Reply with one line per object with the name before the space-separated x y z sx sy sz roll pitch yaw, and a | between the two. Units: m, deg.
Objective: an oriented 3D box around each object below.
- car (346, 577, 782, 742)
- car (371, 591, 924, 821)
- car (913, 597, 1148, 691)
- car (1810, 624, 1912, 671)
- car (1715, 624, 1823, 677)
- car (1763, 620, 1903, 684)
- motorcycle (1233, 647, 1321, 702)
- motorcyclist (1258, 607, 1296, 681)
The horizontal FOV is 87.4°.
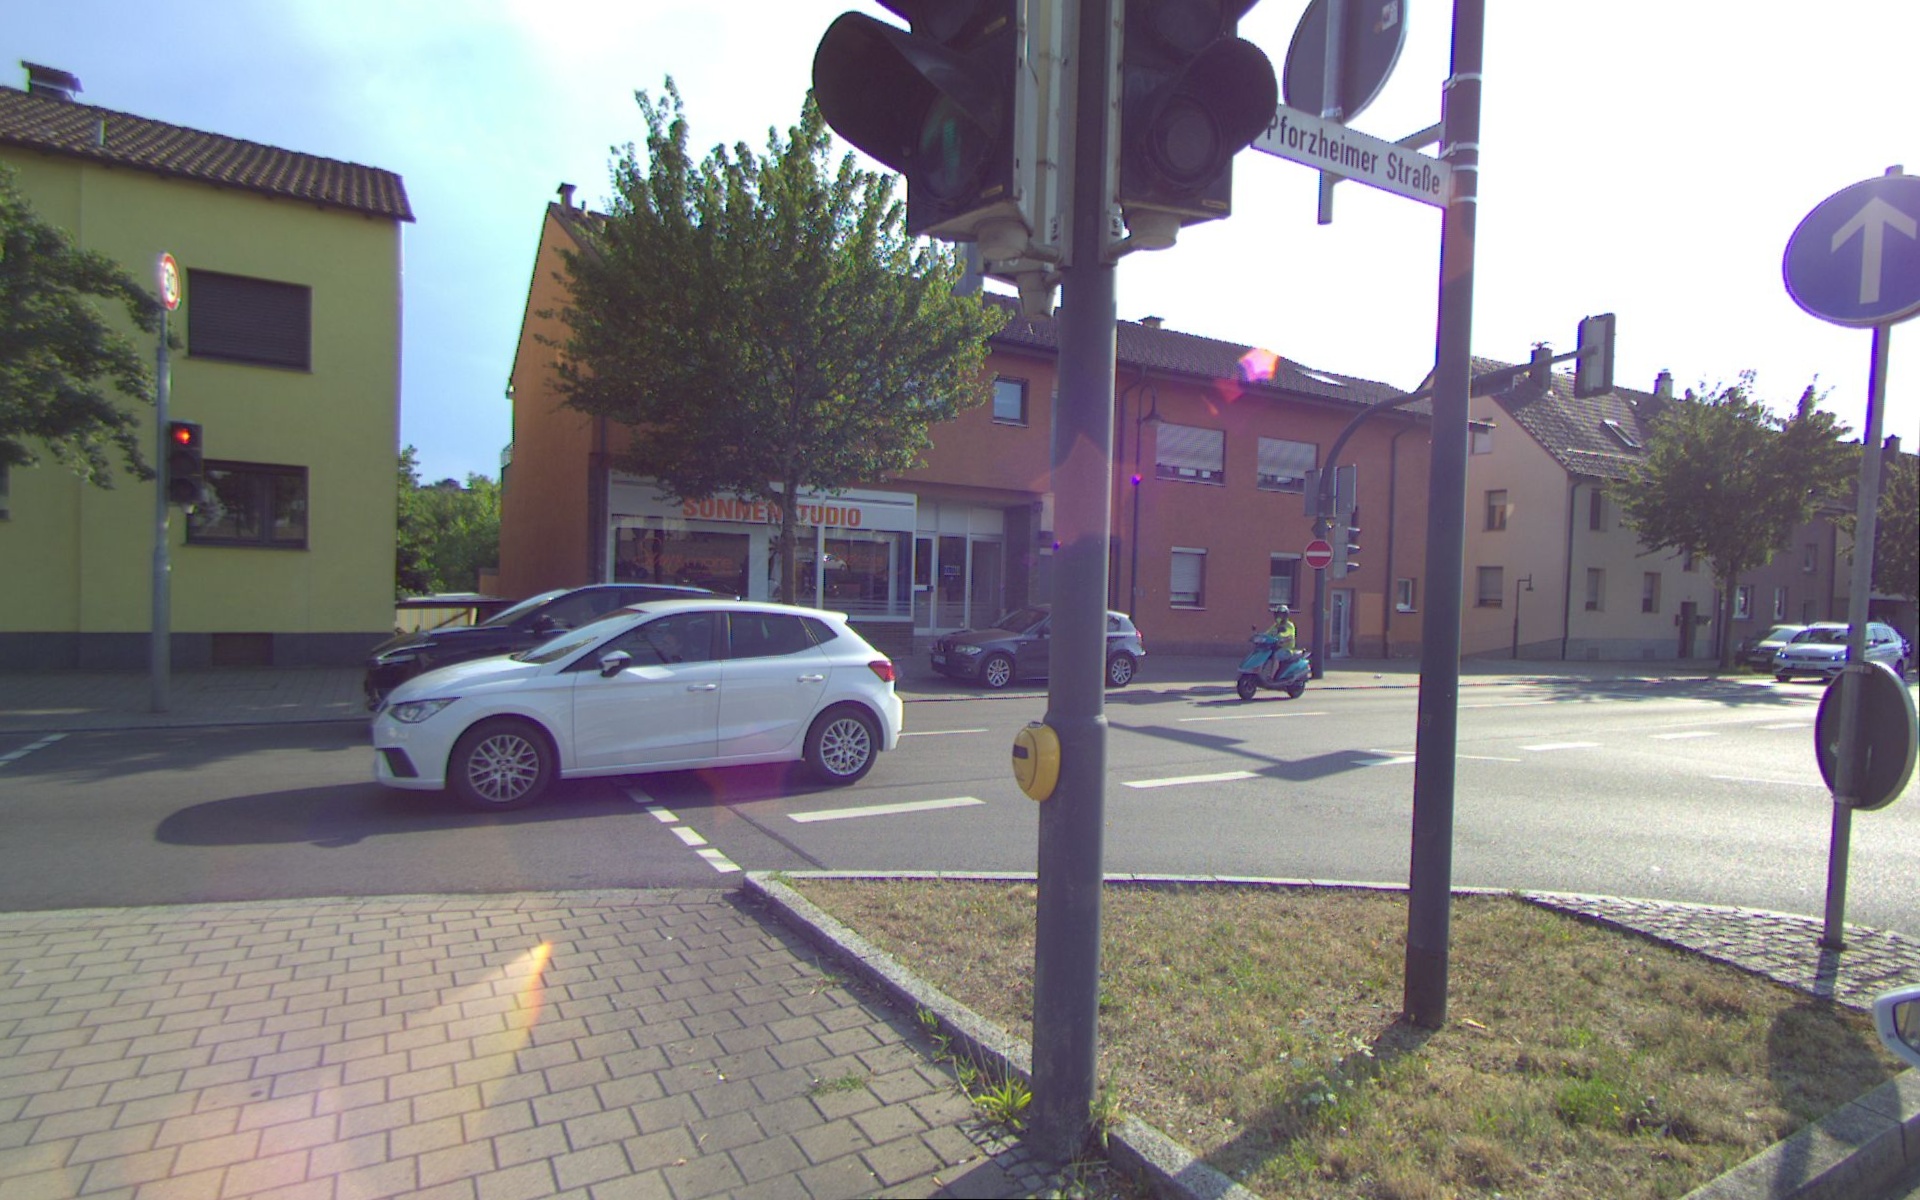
car | -4.485 0.613 11.695 4.405 1.617 1.847 1 0 -29
car | -2.437 0.693 8.083 3.955 1.430 1.748 1 0 -31
car | 1.305 0.766 18.300 3.894 1.433 1.787 1 4 -30
car | 31.873 1.652 35.516 4.088 1.531 1.609 1 0 -32
car | 26.410 1.611 32.757 3.842 1.531 1.504 1 2 -32
car | 24.468 1.426 28.130 4.362 1.633 1.677 2 0 -31
motorcycle | 5.473 1.268 17.313 1.744 0.872 0.410 1 0 -33
motorcyclist | 5.453 0.747 17.281 0.457 1.245 0.401 1 1 -33
